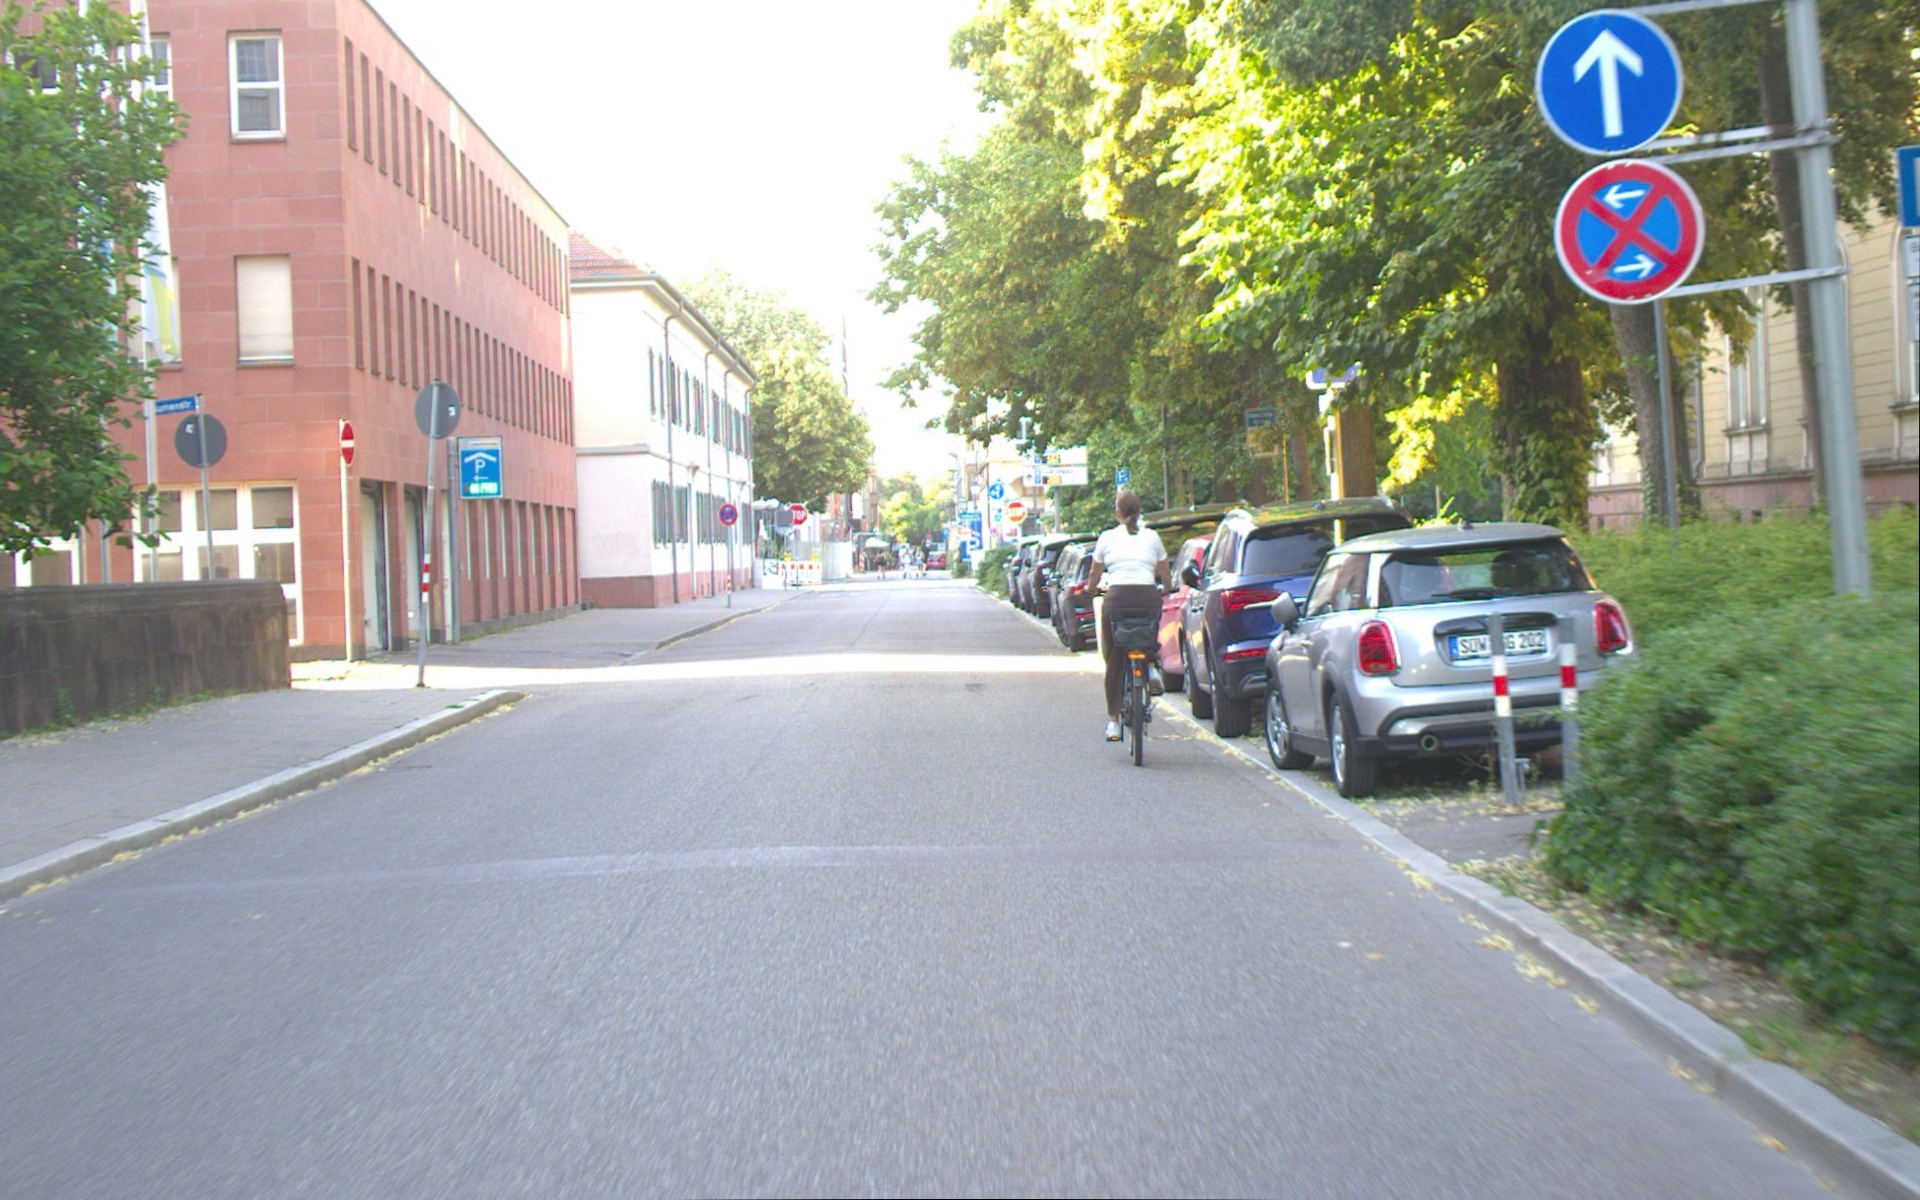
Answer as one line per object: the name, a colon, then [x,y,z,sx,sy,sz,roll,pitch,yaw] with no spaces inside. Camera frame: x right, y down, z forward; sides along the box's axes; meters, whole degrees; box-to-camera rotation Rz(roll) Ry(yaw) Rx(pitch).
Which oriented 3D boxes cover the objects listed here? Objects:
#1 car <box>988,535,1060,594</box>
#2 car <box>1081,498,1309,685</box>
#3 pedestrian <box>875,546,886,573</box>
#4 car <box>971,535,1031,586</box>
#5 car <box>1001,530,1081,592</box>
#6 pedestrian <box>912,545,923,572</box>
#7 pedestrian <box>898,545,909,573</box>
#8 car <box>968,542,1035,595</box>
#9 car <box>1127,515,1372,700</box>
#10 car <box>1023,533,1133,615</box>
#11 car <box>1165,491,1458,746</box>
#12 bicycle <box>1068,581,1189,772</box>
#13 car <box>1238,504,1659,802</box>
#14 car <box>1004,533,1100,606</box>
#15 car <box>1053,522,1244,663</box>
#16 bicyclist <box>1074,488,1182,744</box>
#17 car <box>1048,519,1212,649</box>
car: [1.993,-1.131,107.744,1.993,1.743,4.000,-3,1,-1]
car: [2.457,-0.124,36.857,1.993,1.809,4.000,-3,1,-1]
pedestrian: [-4.381,-2.209,189.200,0.534,1.467,0.449,-3,1,-2]
car: [1.871,-1.835,158.040,2.493,2.188,4.910,-3,1,-1]
car: [2.256,-1.105,96.766,1.993,1.623,4.000,-3,1,-1]
pedestrian: [-2.313,-2.268,186.963,0.534,1.467,0.449,-3,1,-2]
pedestrian: [-3.073,-2.239,186.969,0.534,1.467,0.449,-3,1,-2]
car: [1.557,-1.210,129.945,2.281,1.847,4.910,-3,1,-1]
car: [2.618,0.027,31.928,1.715,1.532,4.049,-3,1,-2]
car: [2.426,-0.564,71.714,1.993,1.579,4.000,-3,1,-1]
car: [2.583,0.084,26.190,1.715,1.706,4.473,-2,1,0]
bicycle: [1.103,0.483,22.830,0.638,1.189,1.876,0,1,-2]
car: [2.725,0.275,19.953,1.685,1.442,3.672,-4,0,-2]
car: [2.165,-0.740,81.740,1.993,1.623,4.000,-3,1,-1]
car: [2.296,-0.120,42.881,1.993,1.590,4.000,-3,1,-1]
bicyclist: [1.107,0.098,22.750,0.639,1.661,0.843,0,1,-2]
car: [2.395,-0.254,49.496,1.993,1.700,4.000,-3,1,-1]
